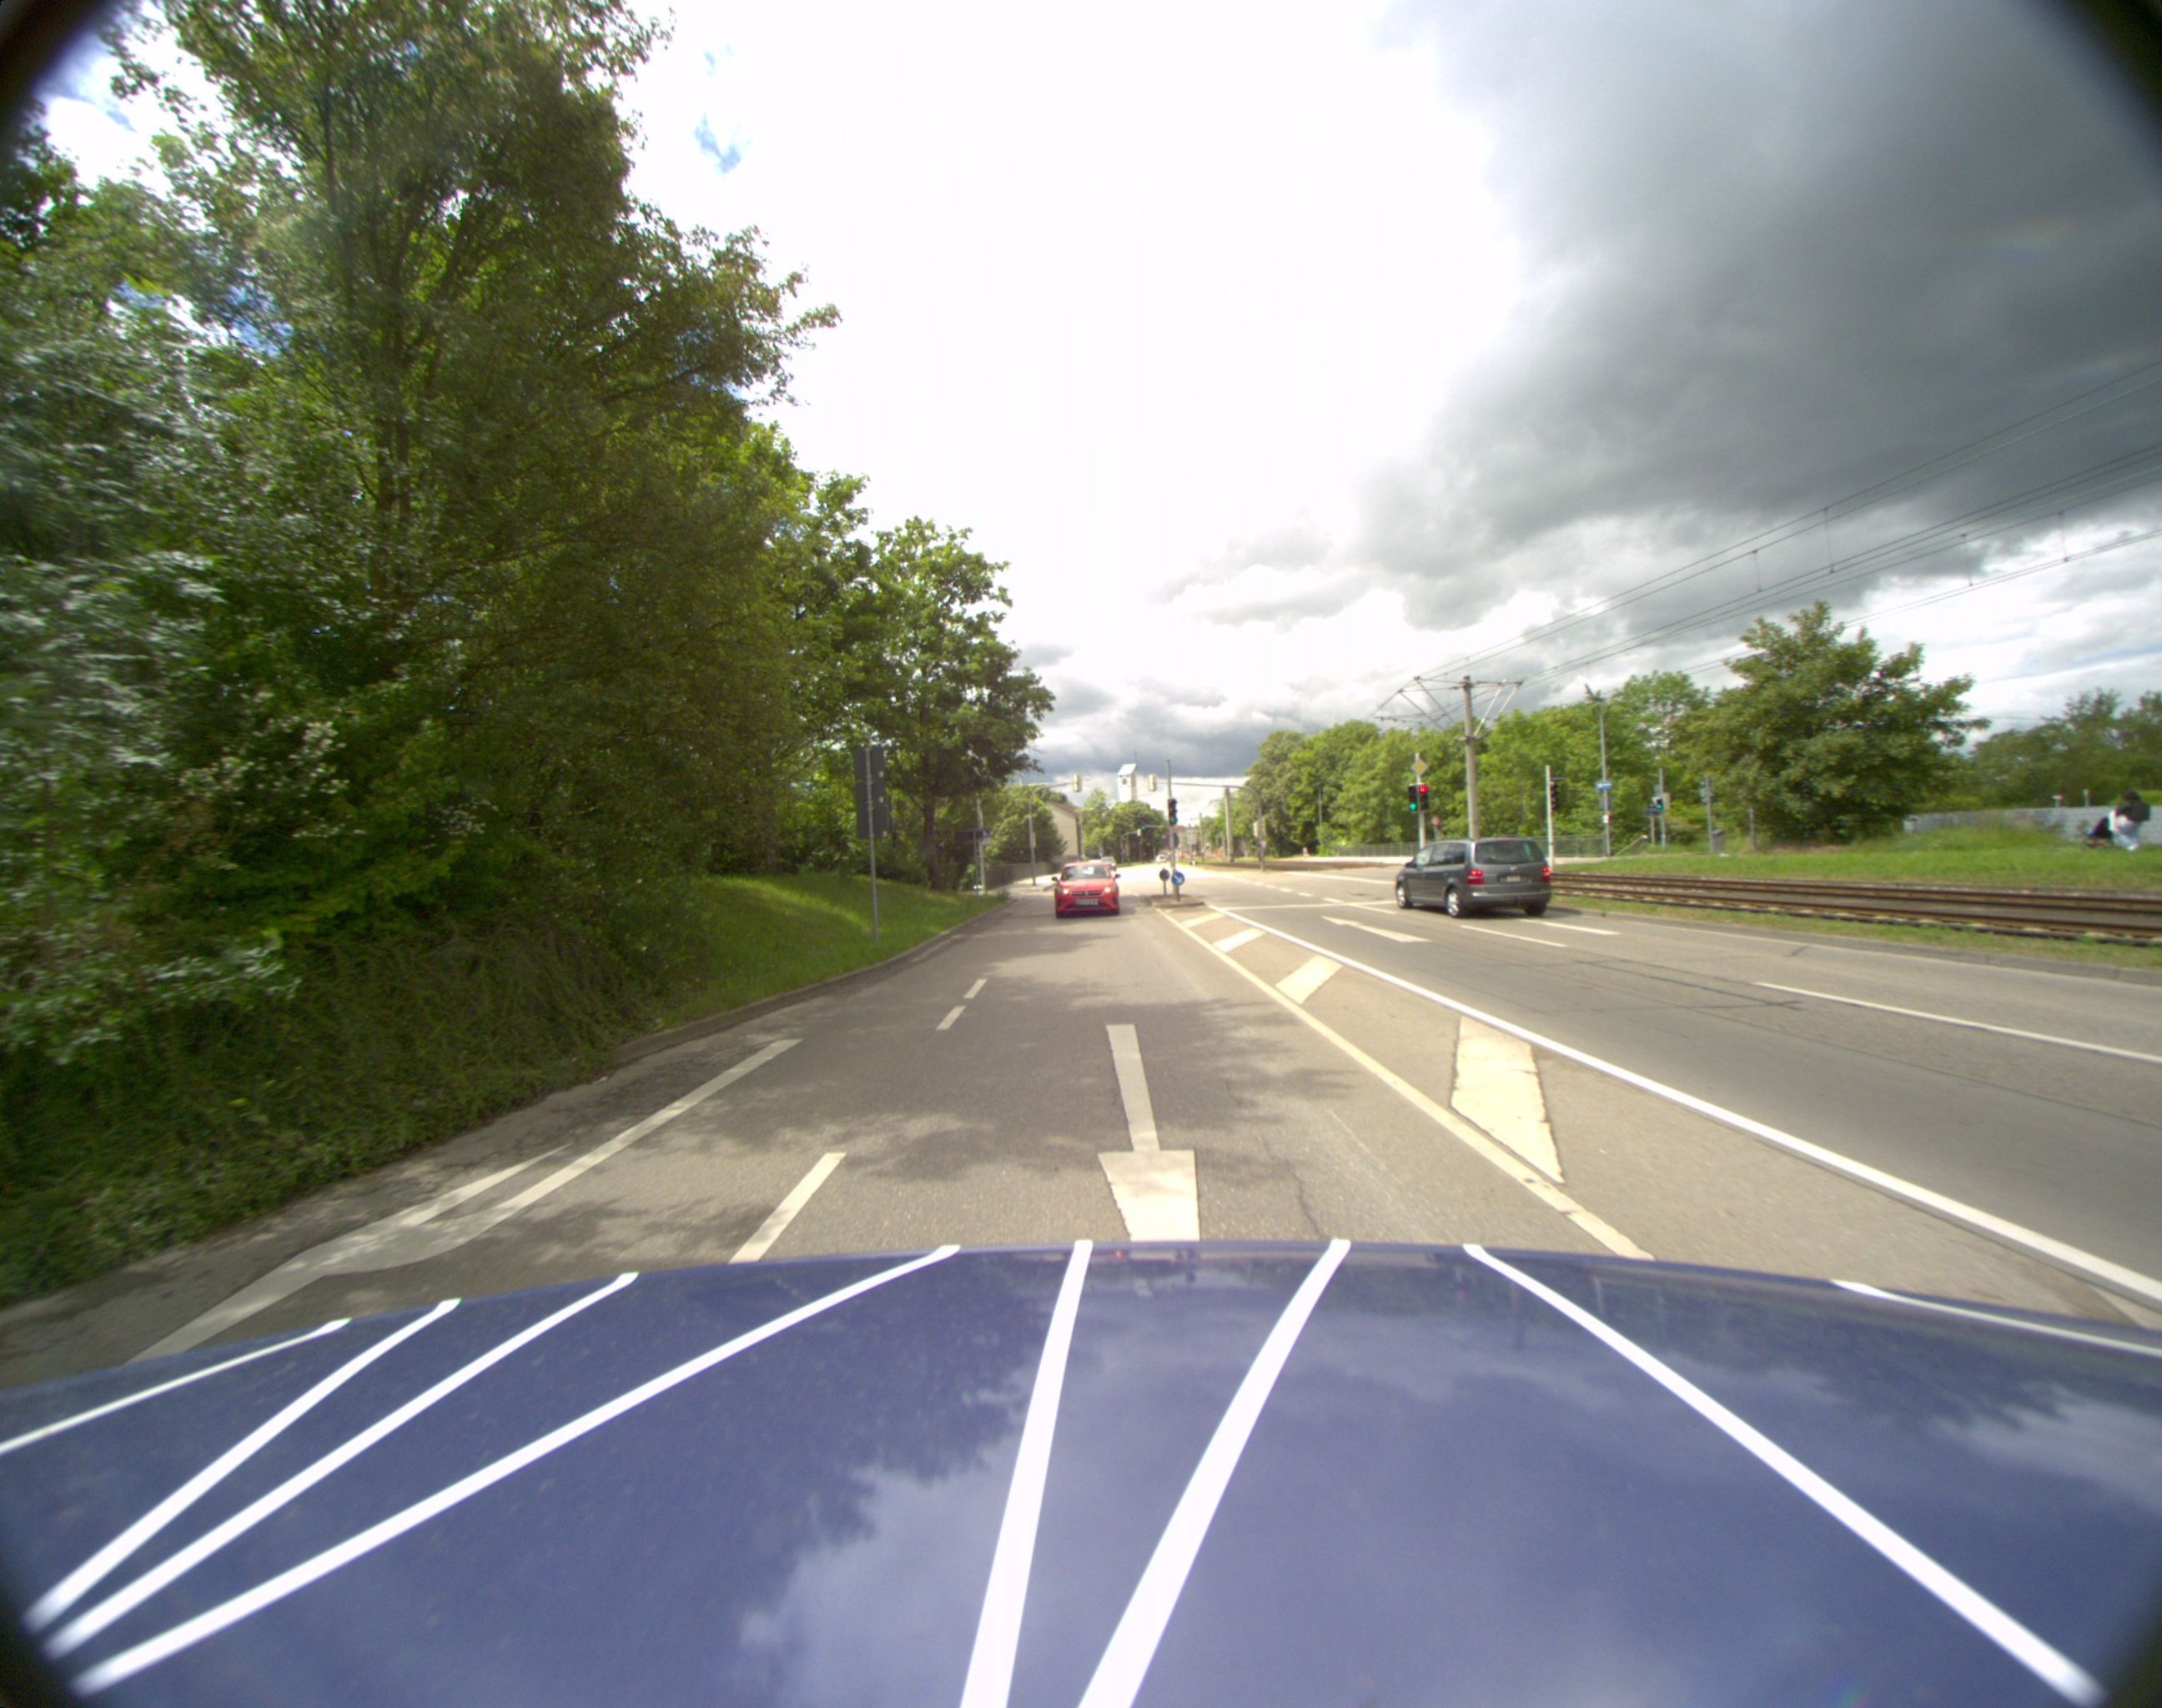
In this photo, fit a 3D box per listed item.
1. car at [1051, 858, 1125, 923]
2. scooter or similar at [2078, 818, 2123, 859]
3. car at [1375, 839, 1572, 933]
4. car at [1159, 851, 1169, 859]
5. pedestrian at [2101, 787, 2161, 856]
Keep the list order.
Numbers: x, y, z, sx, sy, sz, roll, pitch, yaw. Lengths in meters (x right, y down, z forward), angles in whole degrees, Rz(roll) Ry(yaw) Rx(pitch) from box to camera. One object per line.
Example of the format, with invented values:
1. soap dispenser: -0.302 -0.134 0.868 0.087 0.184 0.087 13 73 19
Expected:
1. car: 0.184 0.934 21.802 1.790 1.453 4.851 -3 1 0
2. scooter or similar: 27.353 -0.415 20.390 0.381 1.070 0.718 -3 2 20
3. car: 8.232 0.557 16.493 1.998 1.650 4.522 -3 1 2
4. car: 15.775 0.192 144.716 1.789 1.340 4.853 -3 1 4
5. pedestrian: 27.083 -0.834 19.581 0.492 1.713 0.800 -3 2 3
